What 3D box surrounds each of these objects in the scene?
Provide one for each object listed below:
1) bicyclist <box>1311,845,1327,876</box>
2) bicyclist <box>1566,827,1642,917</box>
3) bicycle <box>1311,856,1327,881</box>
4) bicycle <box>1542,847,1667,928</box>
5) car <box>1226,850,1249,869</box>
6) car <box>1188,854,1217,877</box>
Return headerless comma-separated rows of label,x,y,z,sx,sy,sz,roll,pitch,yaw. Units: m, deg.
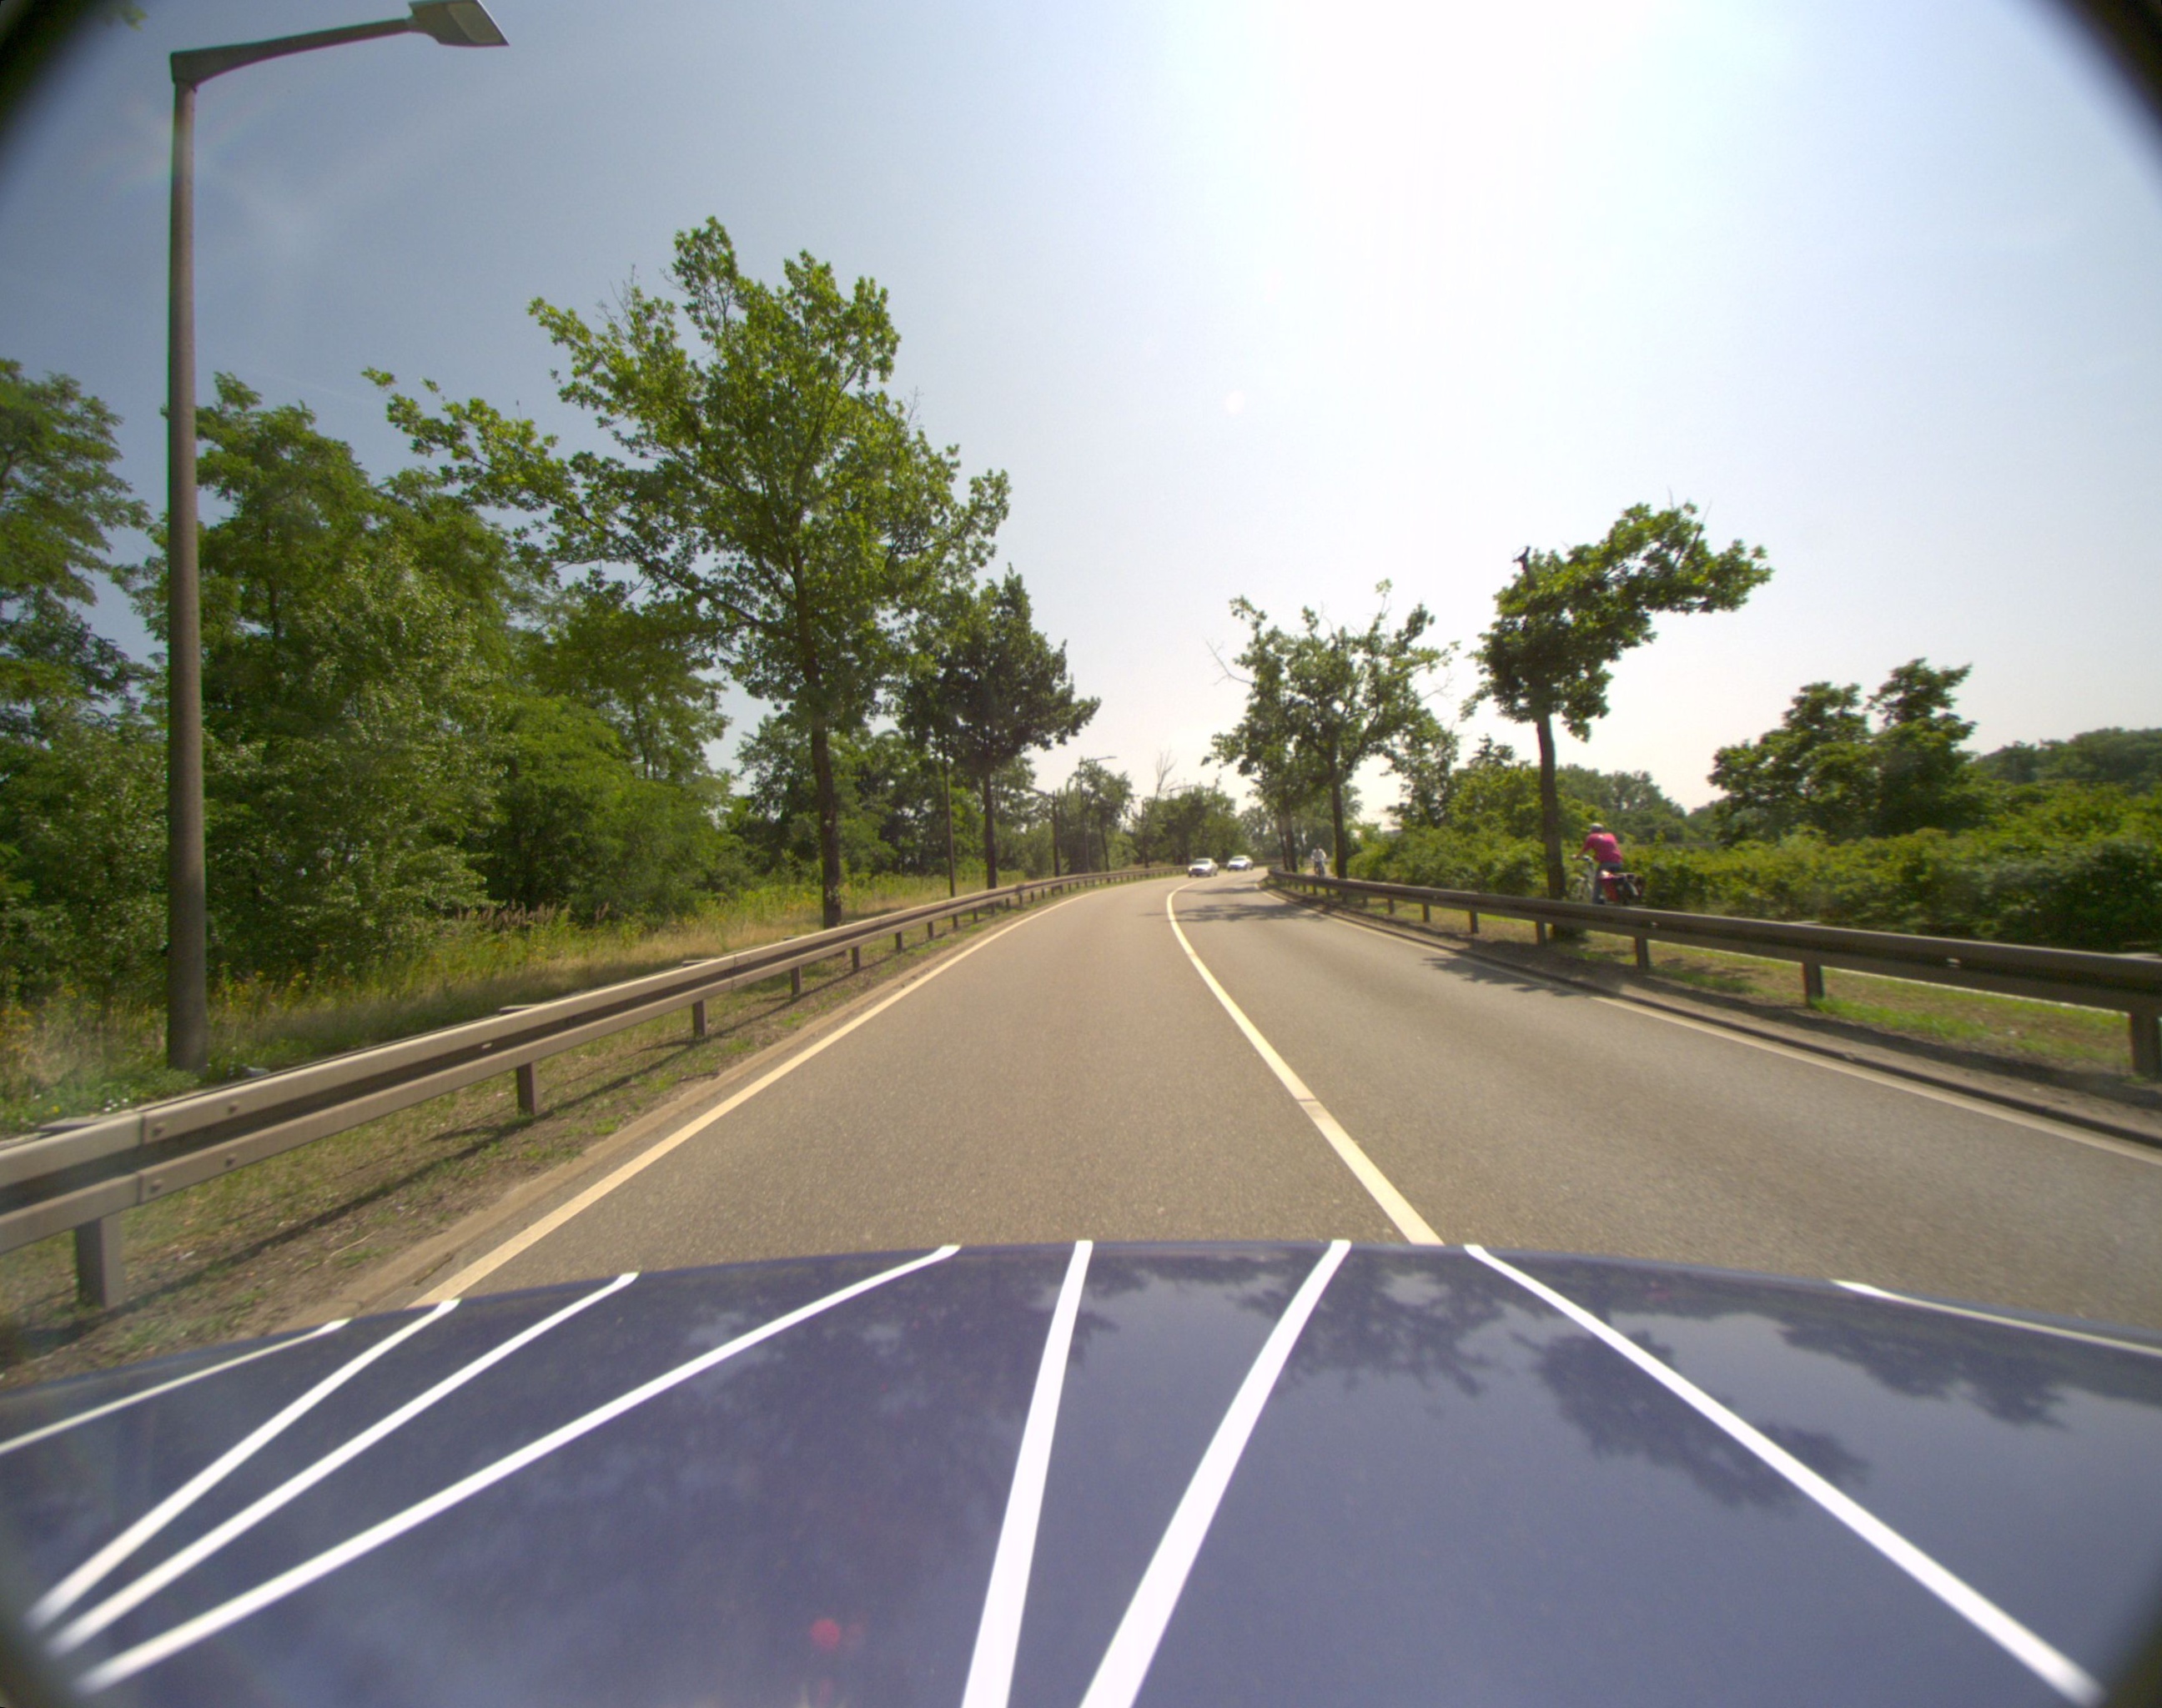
bicyclist,11.441,0.320,36.534,0.730,1.457,0.825,0,1,17
bicyclist,8.983,0.306,13.082,0.743,1.480,0.757,-2,1,1
bicycle,11.444,0.686,36.540,0.735,1.110,2.049,0,1,18
bicycle,8.987,0.538,13.165,0.736,1.274,2.046,-2,0,1
car,15.347,0.510,74.446,1.797,1.772,4.298,-2,0,16
car,9.503,0.853,59.237,1.761,1.490,4.237,-3,1,14
